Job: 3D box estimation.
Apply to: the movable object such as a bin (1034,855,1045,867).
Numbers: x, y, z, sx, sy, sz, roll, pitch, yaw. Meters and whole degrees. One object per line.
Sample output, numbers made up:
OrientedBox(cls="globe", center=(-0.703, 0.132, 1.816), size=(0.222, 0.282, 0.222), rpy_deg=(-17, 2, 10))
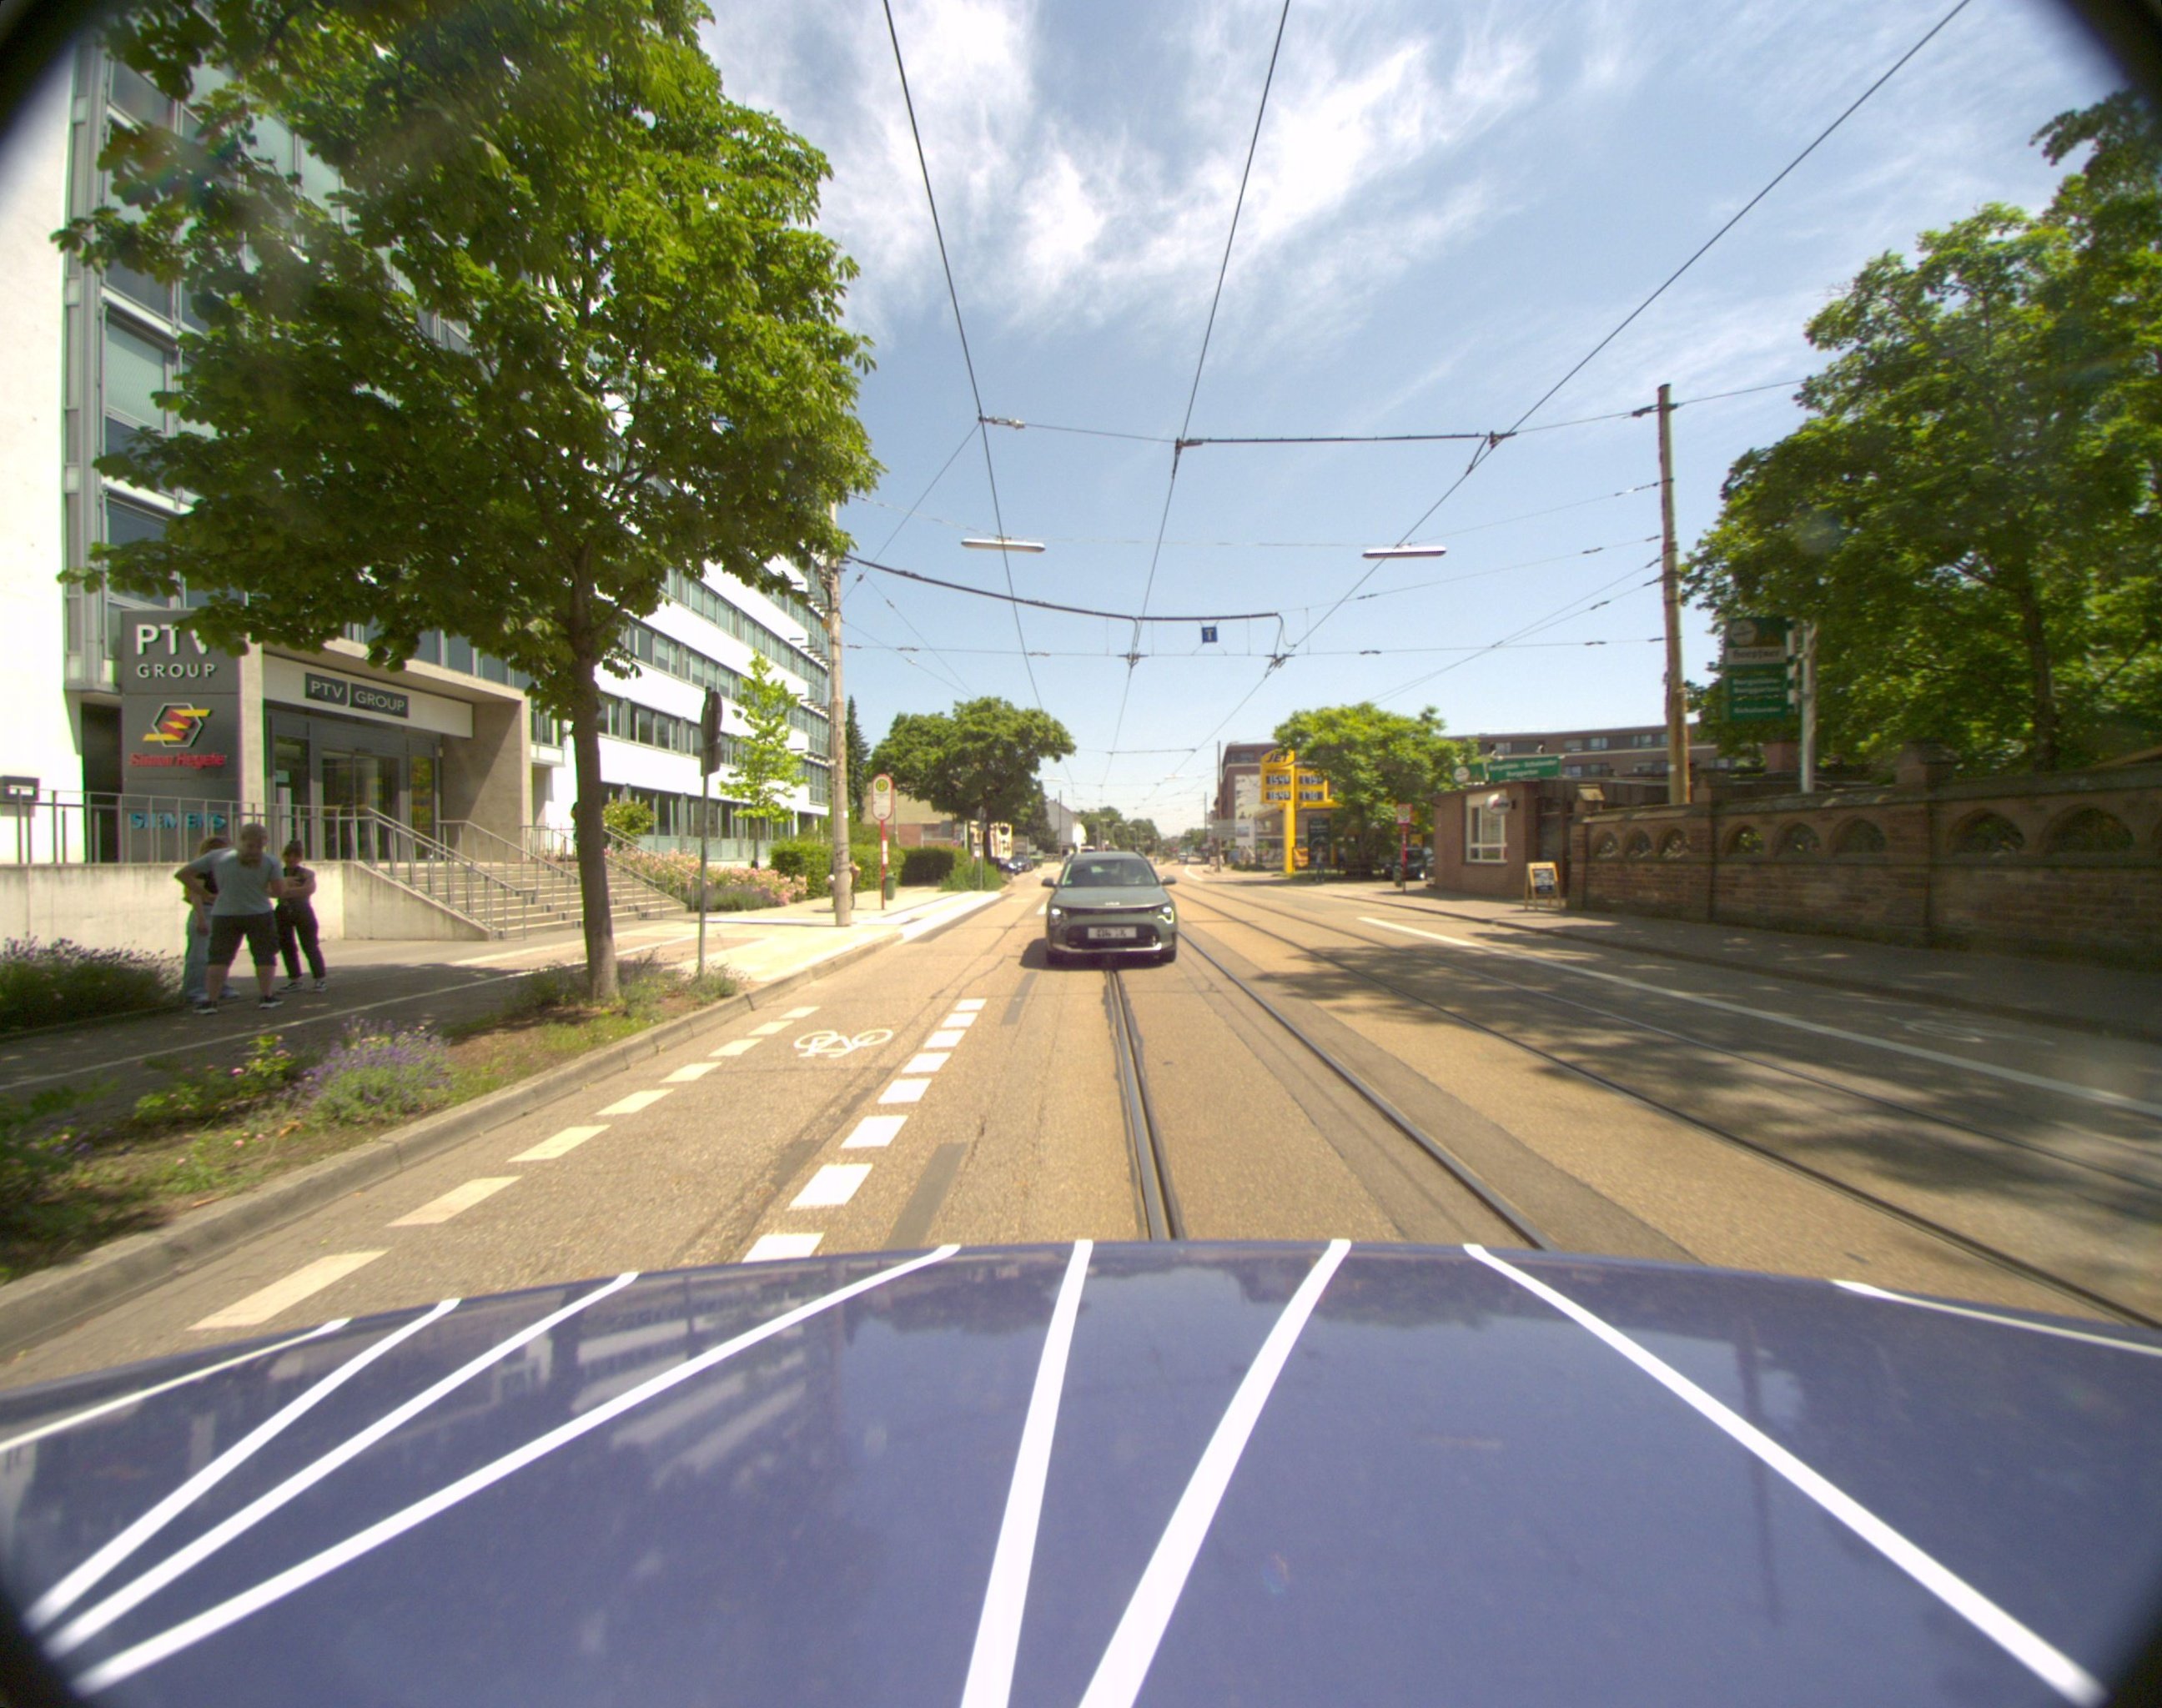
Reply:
OrientedBox(cls="movable object such as a bin", center=(-5.021, 0.844, 91.872), size=(1.250, 1.446, 1.057), rpy_deg=(2, 0, -2))

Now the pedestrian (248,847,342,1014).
OrientedBox(cls="pedestrian", center=(-8.377, 0.781, 8.121), size=(0.539, 1.705, 0.564), rpy_deg=(0, 2, -28))

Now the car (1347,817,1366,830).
OrientedBox(cls="car", center=(34.769, -3.785, 95.986), size=(1.734, 1.460, 4.004), rpy_deg=(-1, 0, 13))

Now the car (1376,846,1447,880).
OrientedBox(cls="car", center=(16.270, 0.432, 37.307), size=(1.930, 1.480, 4.460), rpy_deg=(-2, 0, 41))

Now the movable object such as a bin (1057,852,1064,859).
OrientedBox(cls="movable object such as a bin", center=(-4.412, 0.350, 162.372), size=(1.389, 1.472, 1.152), rpy_deg=(-1, 0, 9))

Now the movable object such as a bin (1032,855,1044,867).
OrientedBox(cls="movable object such as a bin", center=(-5.106, 0.834, 90.775), size=(1.327, 1.446, 1.057), rpy_deg=(2, 0, -2))

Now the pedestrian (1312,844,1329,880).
OrientedBox(cls="pedestrian", center=(12.082, 0.385, 38.303), size=(0.581, 1.765, 0.699), rpy_deg=(-2, 0, -2))

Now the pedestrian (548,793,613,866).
OrientedBox(cls="pedestrian", center=(-12.166, -0.585, 18.483), size=(0.874, 1.705, 1.092), rpy_deg=(2, 2, 36))

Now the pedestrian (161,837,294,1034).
OrientedBox(cls="pedestrian", center=(-8.197, 0.740, 7.331), size=(0.681, 1.786, 0.673), rpy_deg=(1, 1, -30))

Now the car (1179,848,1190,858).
OrientedBox(cls="car", center=(20.265, -0.214, 148.781), size=(1.997, 1.789, 4.555), rpy_deg=(-2, 1, 9))

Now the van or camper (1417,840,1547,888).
OrientedBox(cls="van or camper", center=(14.858, 0.366, 28.312), size=(3.793, 1.619, 1.871), rpy_deg=(-2, -1, 1))

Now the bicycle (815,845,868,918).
OrientedBox(cls="bicycle", center=(-6.145, 0.665, 19.590), size=(0.691, 1.775, 1.811), rpy_deg=(1, 1, 4))

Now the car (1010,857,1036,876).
OrientedBox(cls="car", center=(-5.737, 1.222, 75.543), size=(1.929, 1.683, 5.082), rpy_deg=(1, 0, 2))

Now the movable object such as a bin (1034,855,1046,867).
OrientedBox(cls="movable object such as a bin", center=(-4.988, 0.840, 92.985), size=(1.396, 1.446, 1.139), rpy_deg=(2, 0, -2))

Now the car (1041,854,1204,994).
OrientedBox(cls="car", center=(0.464, 0.801, 10.958), size=(1.827, 1.546, 4.486), rpy_deg=(-1, 0, 0))

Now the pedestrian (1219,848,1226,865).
OrientedBox(cls="pedestrian", center=(13.818, 0.239, 74.302), size=(0.626, 1.681, 0.723), rpy_deg=(0, 1, 14))

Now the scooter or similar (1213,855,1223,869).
OrientedBox(cls="scooter or similar", center=(11.575, 0.685, 64.242), size=(0.520, 1.193, 1.376), rpy_deg=(-2, 0, -2))

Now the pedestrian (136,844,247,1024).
OrientedBox(cls="pedestrian", center=(-8.820, 0.755, 7.559), size=(0.539, 1.705, 0.564), rpy_deg=(0, 2, -28))

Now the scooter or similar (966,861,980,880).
OrientedBox(cls="scooter or similar", center=(-6.913, 1.048, 48.763), size=(0.326, 1.215, 1.153), rpy_deg=(-2, 0, 22))

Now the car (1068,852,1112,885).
OrientedBox(cls="car", center=(0.517, 0.687, 39.077), size=(1.748, 1.546, 4.489), rpy_deg=(-2, 0, 7))

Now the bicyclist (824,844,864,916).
OrientedBox(cls="bicyclist", center=(-6.131, 0.655, 19.655), size=(0.698, 1.789, 0.888), rpy_deg=(1, 1, 4))

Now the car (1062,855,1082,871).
OrientedBox(cls="car", center=(-0.972, 0.945, 80.997), size=(1.748, 1.546, 4.488), rpy_deg=(-2, 0, 3))

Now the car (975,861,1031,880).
OrientedBox(cls="car", center=(-5.985, 1.208, 57.954), size=(3.917, 1.364, 1.706), rpy_deg=(0, 1, 25))
